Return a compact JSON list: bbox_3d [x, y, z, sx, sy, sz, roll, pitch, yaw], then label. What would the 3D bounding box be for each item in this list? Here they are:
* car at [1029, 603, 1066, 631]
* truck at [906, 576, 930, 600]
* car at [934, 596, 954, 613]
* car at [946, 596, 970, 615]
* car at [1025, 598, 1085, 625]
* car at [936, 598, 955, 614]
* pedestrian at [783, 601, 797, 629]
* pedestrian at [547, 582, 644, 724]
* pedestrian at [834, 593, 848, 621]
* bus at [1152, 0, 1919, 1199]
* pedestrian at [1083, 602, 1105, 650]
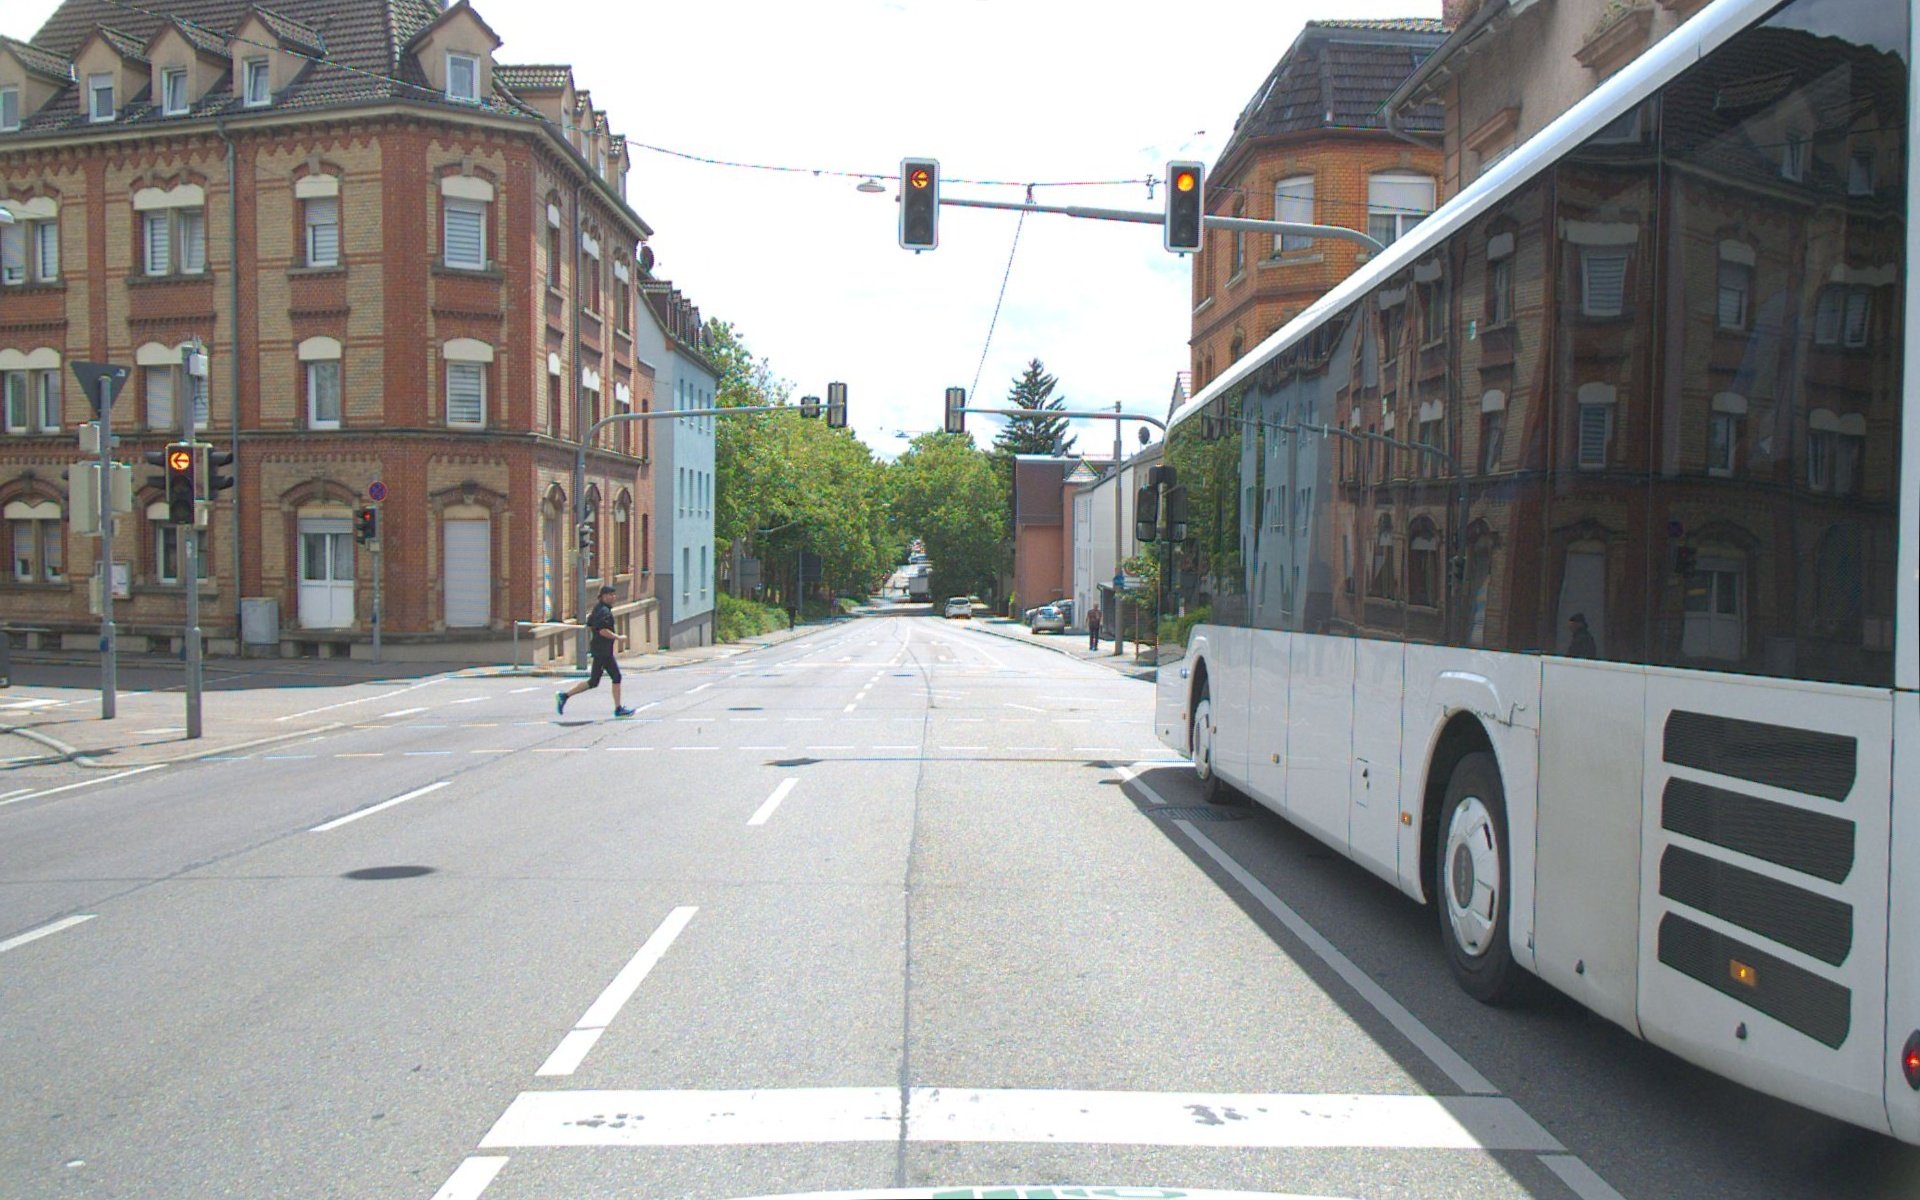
[{"bbox_3d":[4.919,0.949,93.120,1.758,1.434,3.999,-1,1,-2],"label":"car"},{"bbox_3d":[-5.579,-1.569,219.462,2.868,3.135,7.881,-1,0,-3],"label":"truck"},{"bbox_3d":[-1.396,0.412,146.213,1.757,1.434,4.418,1,0,0],"label":"car"},{"bbox_3d":[-0.168,0.462,129.448,1.758,1.434,3.999,1,0,-2],"label":"car"},{"bbox_3d":[6.494,0.783,113.245,3.909,1.788,1.998,-1,0,-6],"label":"car"},{"bbox_3d":[-1.327,0.522,153.894,1.757,1.434,4.418,1,0,0],"label":"car"},{"bbox_3d":[-9.649,0.861,93.788,0.714,1.592,0.560,0,0,-2],"label":"pedestrian"},{"bbox_3d":[-4.630,0.660,21.067,1.118,1.765,0.758,0,0,-5],"label":"pedestrian"},{"bbox_3d":[-9.025,0.533,125.112,0.974,2.049,1.188,0,0,-1],"label":"pedestrian"},{"bbox_3d":[3.193,-0.156,9.306,2.618,3.211,12.459,0,0,-1],"label":"bus"},{"bbox_3d":[5.044,0.963,62.250,0.723,1.781,0.619,-1,0,-1],"label":"pedestrian"}]
